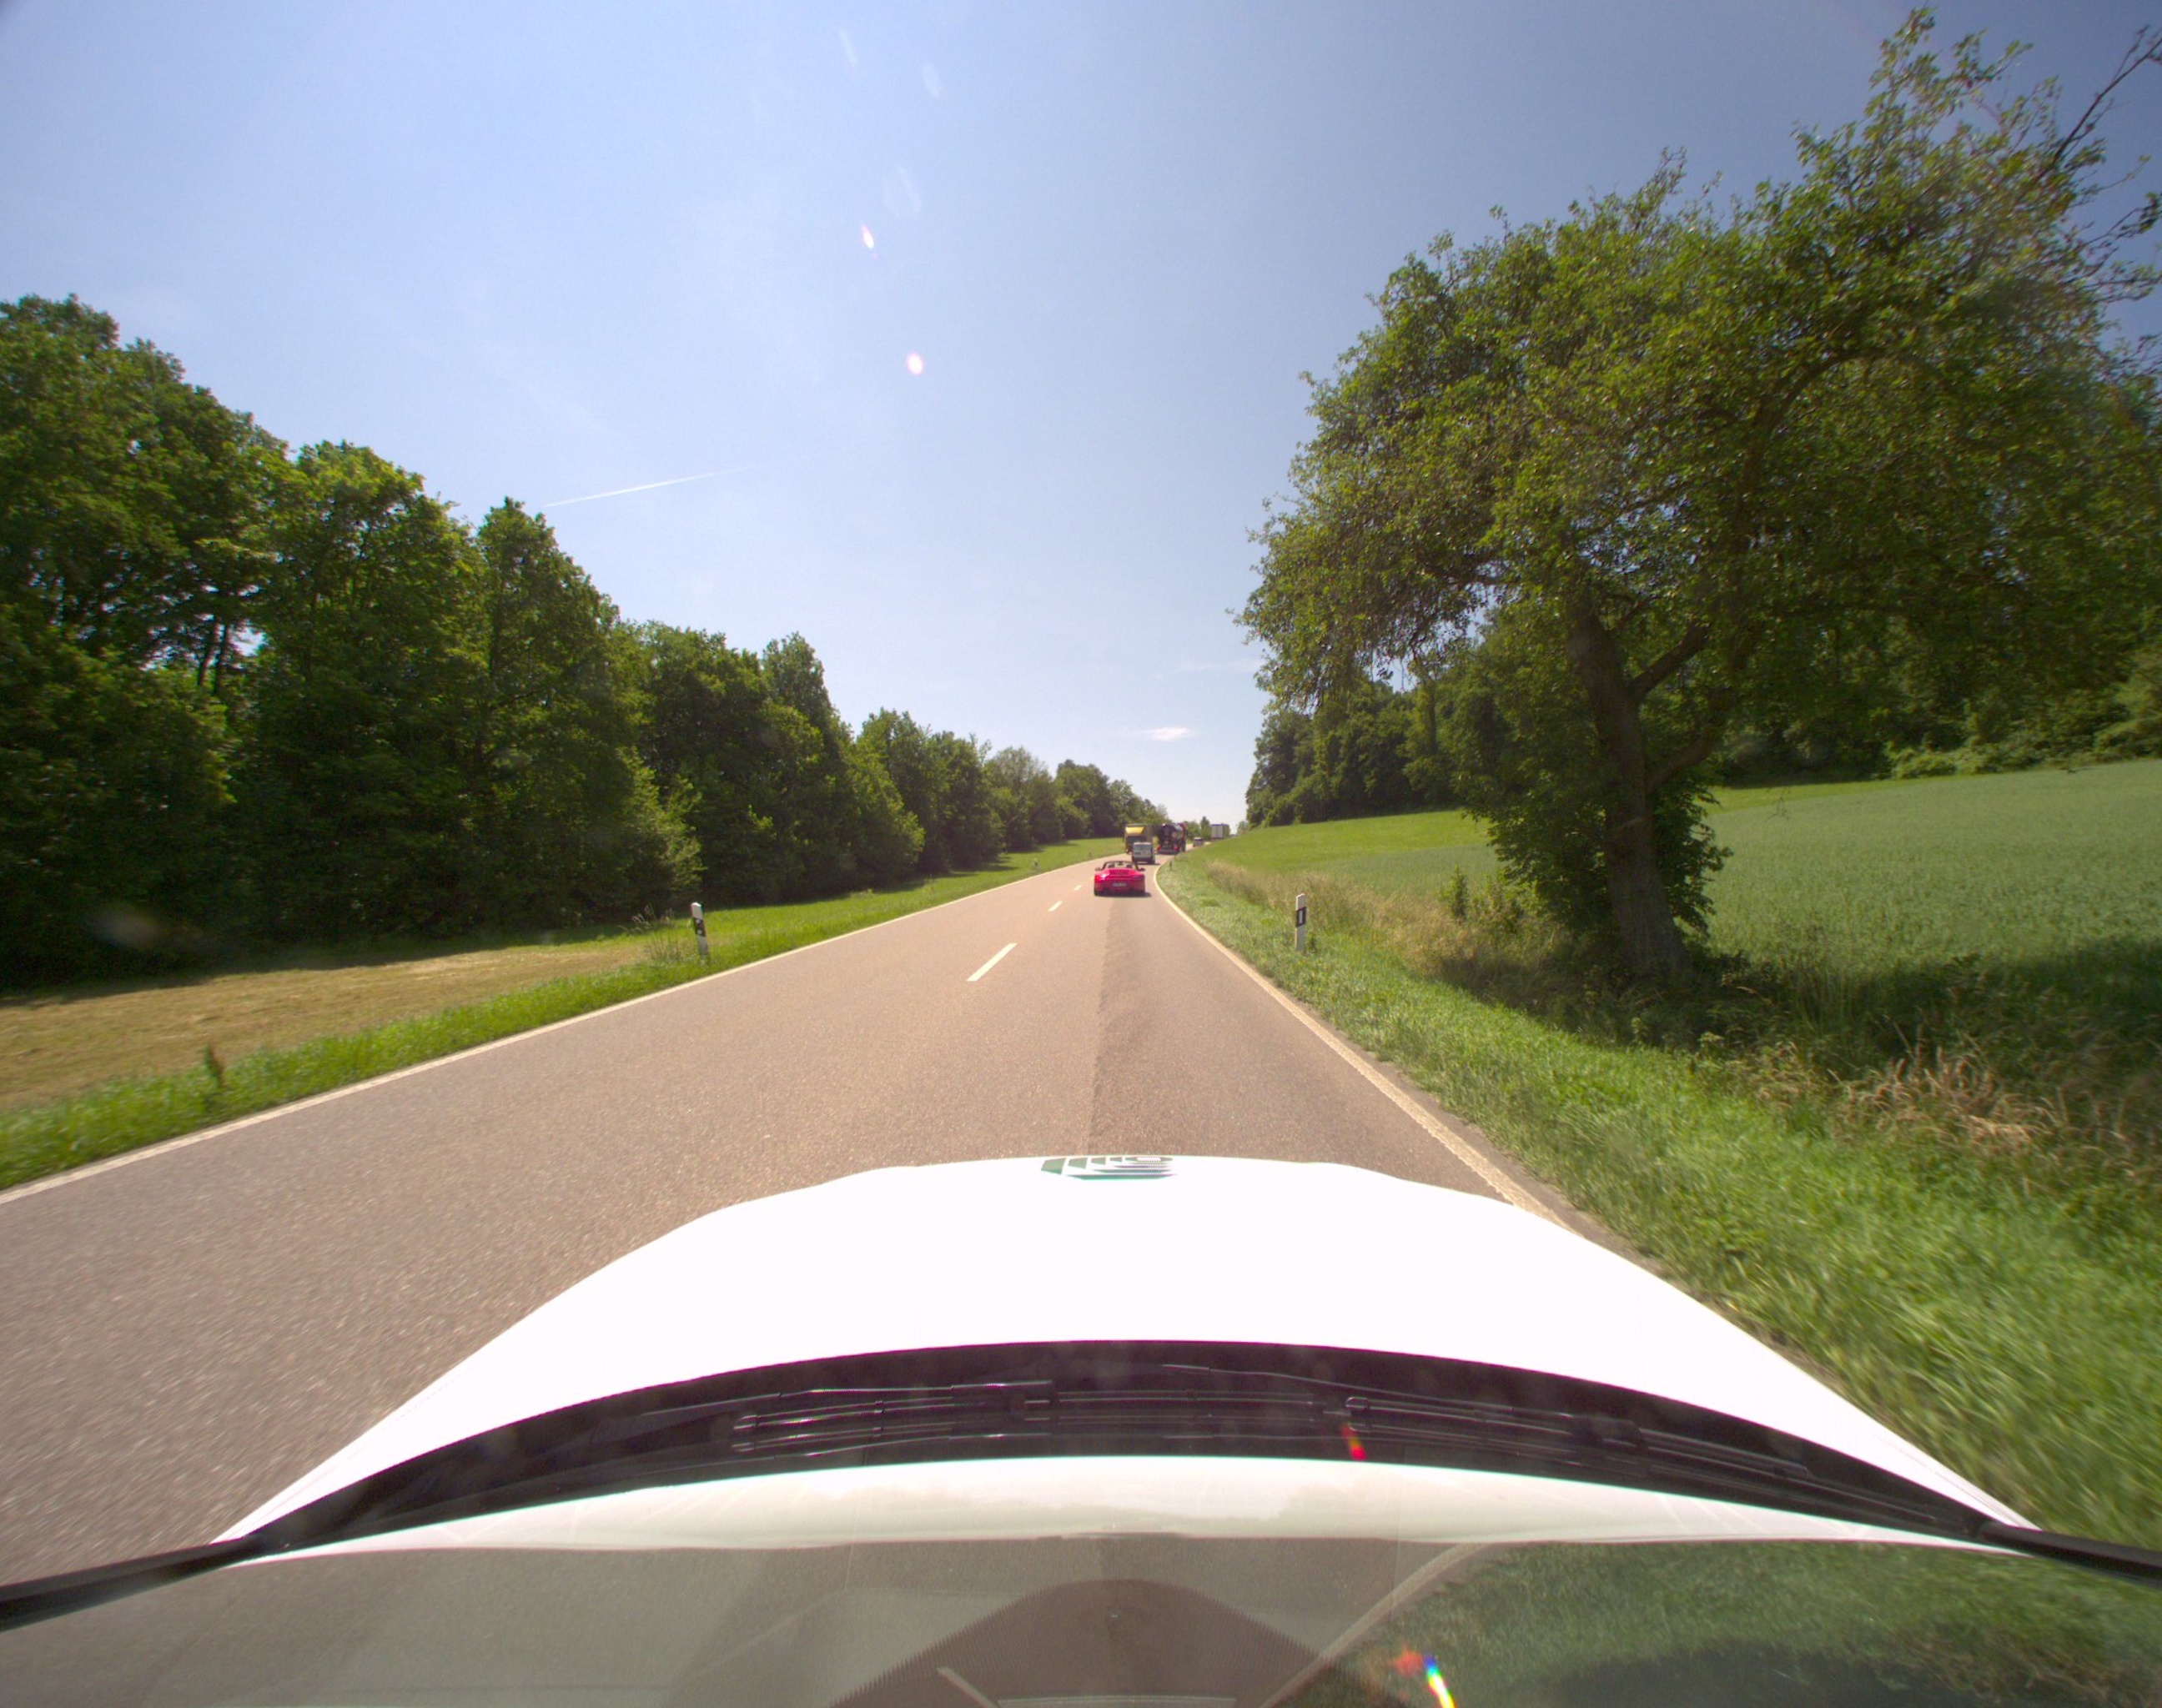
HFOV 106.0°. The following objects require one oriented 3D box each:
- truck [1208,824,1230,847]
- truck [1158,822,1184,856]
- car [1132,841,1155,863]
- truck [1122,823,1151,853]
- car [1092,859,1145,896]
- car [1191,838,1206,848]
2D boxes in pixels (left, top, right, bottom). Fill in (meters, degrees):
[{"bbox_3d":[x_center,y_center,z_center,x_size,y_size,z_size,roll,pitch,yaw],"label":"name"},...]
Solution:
[{"bbox_3d":[28.909,-3.915,170.233,3.699,4.660,12.077,-1,1,14],"label":"truck"},{"bbox_3d":[11.696,-2.017,105.133,2.389,4.049,12.586,-2,1,10],"label":"truck"},{"bbox_3d":[5.614,-0.209,72.715,1.668,1.901,4.021,0,0,10],"label":"car"},{"bbox_3d":[7.153,-1.974,103.664,2.714,3.690,8.570,0,0,10],"label":"truck"},{"bbox_3d":[1.437,0.831,30.641,1.875,1.255,4.013,0,0,3],"label":"car"},{"bbox_3d":[20.016,-1.873,138.386,1.816,1.513,4.210,0,1,17],"label":"car"}]
